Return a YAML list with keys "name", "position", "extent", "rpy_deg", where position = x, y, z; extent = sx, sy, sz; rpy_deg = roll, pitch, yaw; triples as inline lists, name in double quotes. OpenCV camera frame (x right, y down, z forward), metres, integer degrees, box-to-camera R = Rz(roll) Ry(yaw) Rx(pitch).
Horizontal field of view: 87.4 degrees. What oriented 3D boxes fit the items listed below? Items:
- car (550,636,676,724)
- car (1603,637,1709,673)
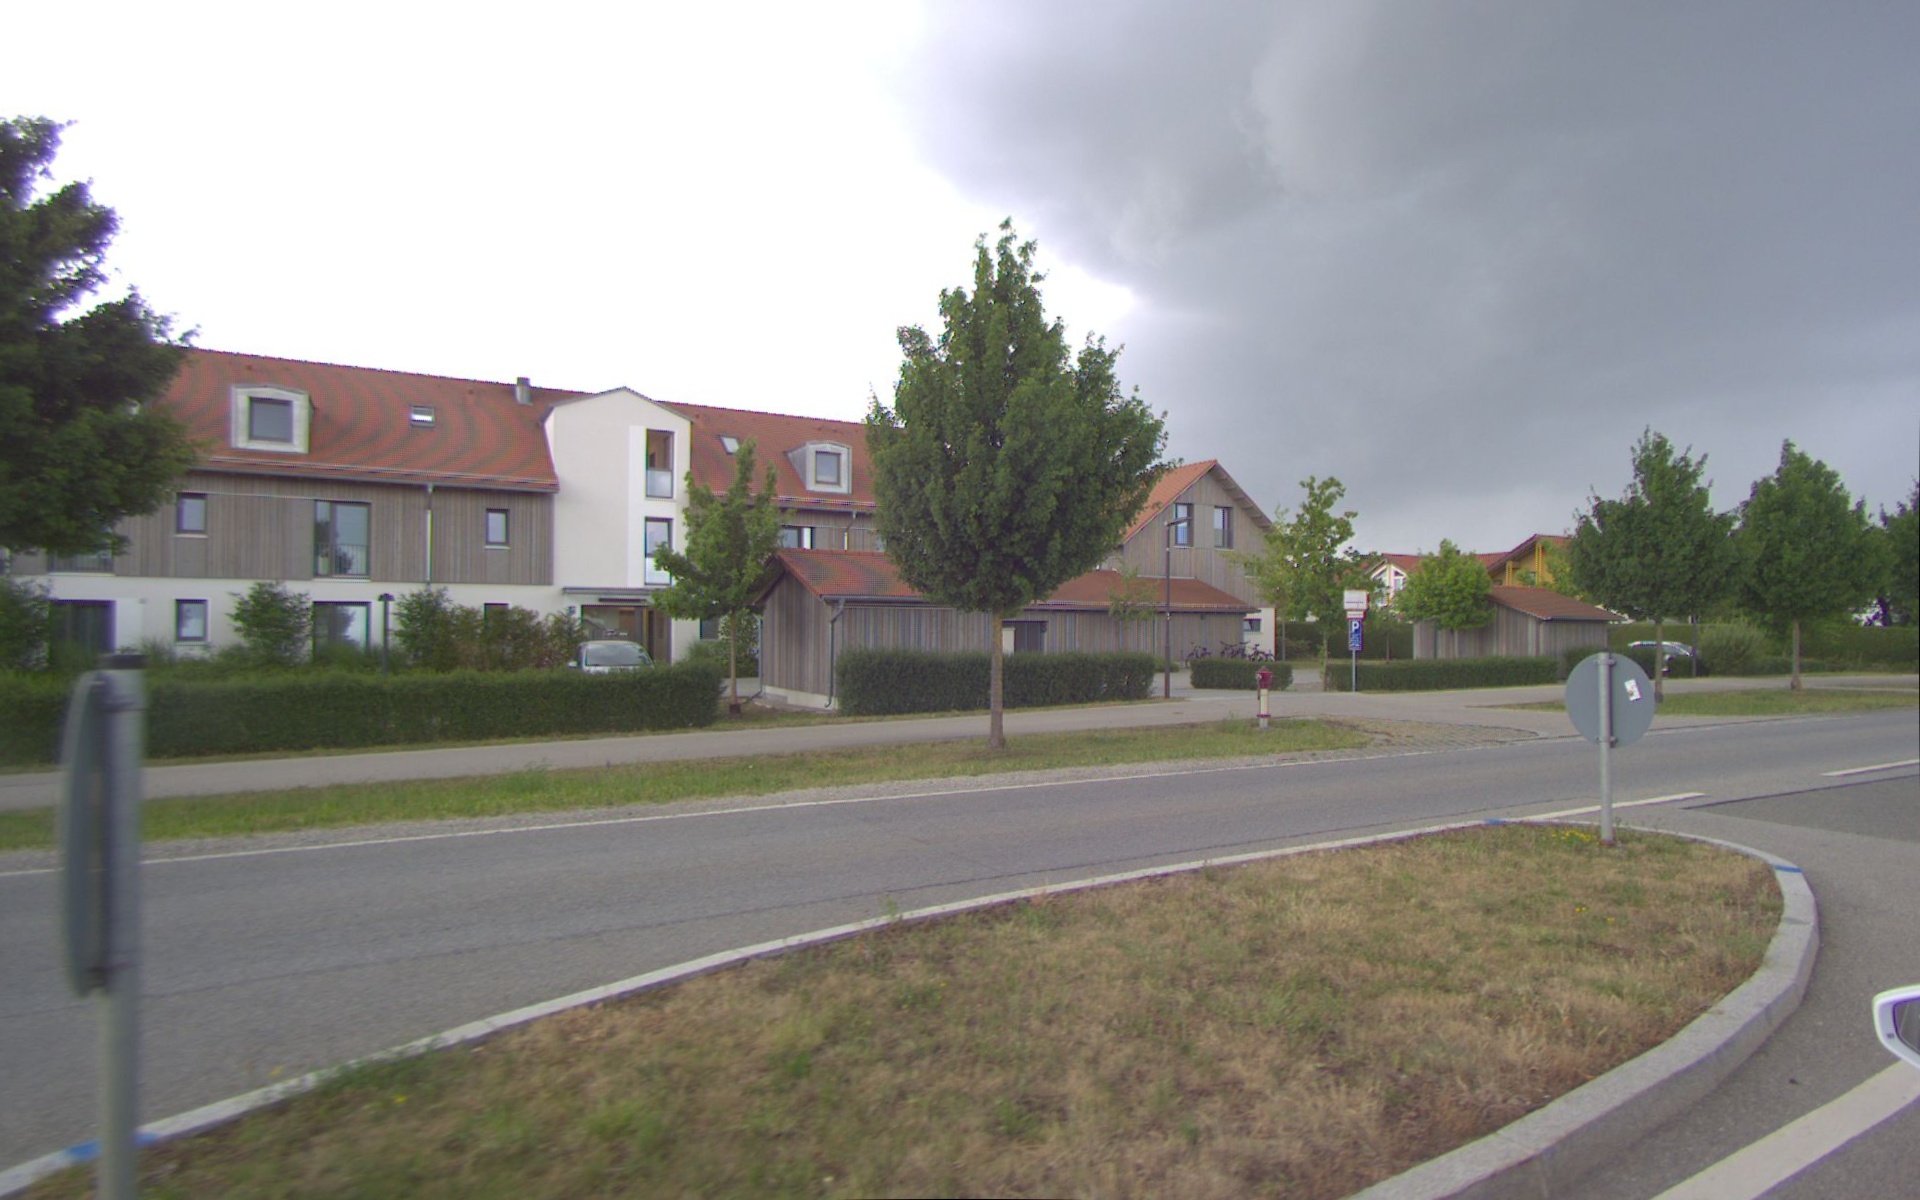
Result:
- name: "car"
  position: [-7.601, 1.636, 21.799]
  extent: [1.975, 1.577, 3.970]
  rpy_deg: [1, 0, -28]
- name: "car"
  position: [31.342, 2.469, 45.309]
  extent: [1.641, 1.549, 3.570]
  rpy_deg: [1, -3, -33]
